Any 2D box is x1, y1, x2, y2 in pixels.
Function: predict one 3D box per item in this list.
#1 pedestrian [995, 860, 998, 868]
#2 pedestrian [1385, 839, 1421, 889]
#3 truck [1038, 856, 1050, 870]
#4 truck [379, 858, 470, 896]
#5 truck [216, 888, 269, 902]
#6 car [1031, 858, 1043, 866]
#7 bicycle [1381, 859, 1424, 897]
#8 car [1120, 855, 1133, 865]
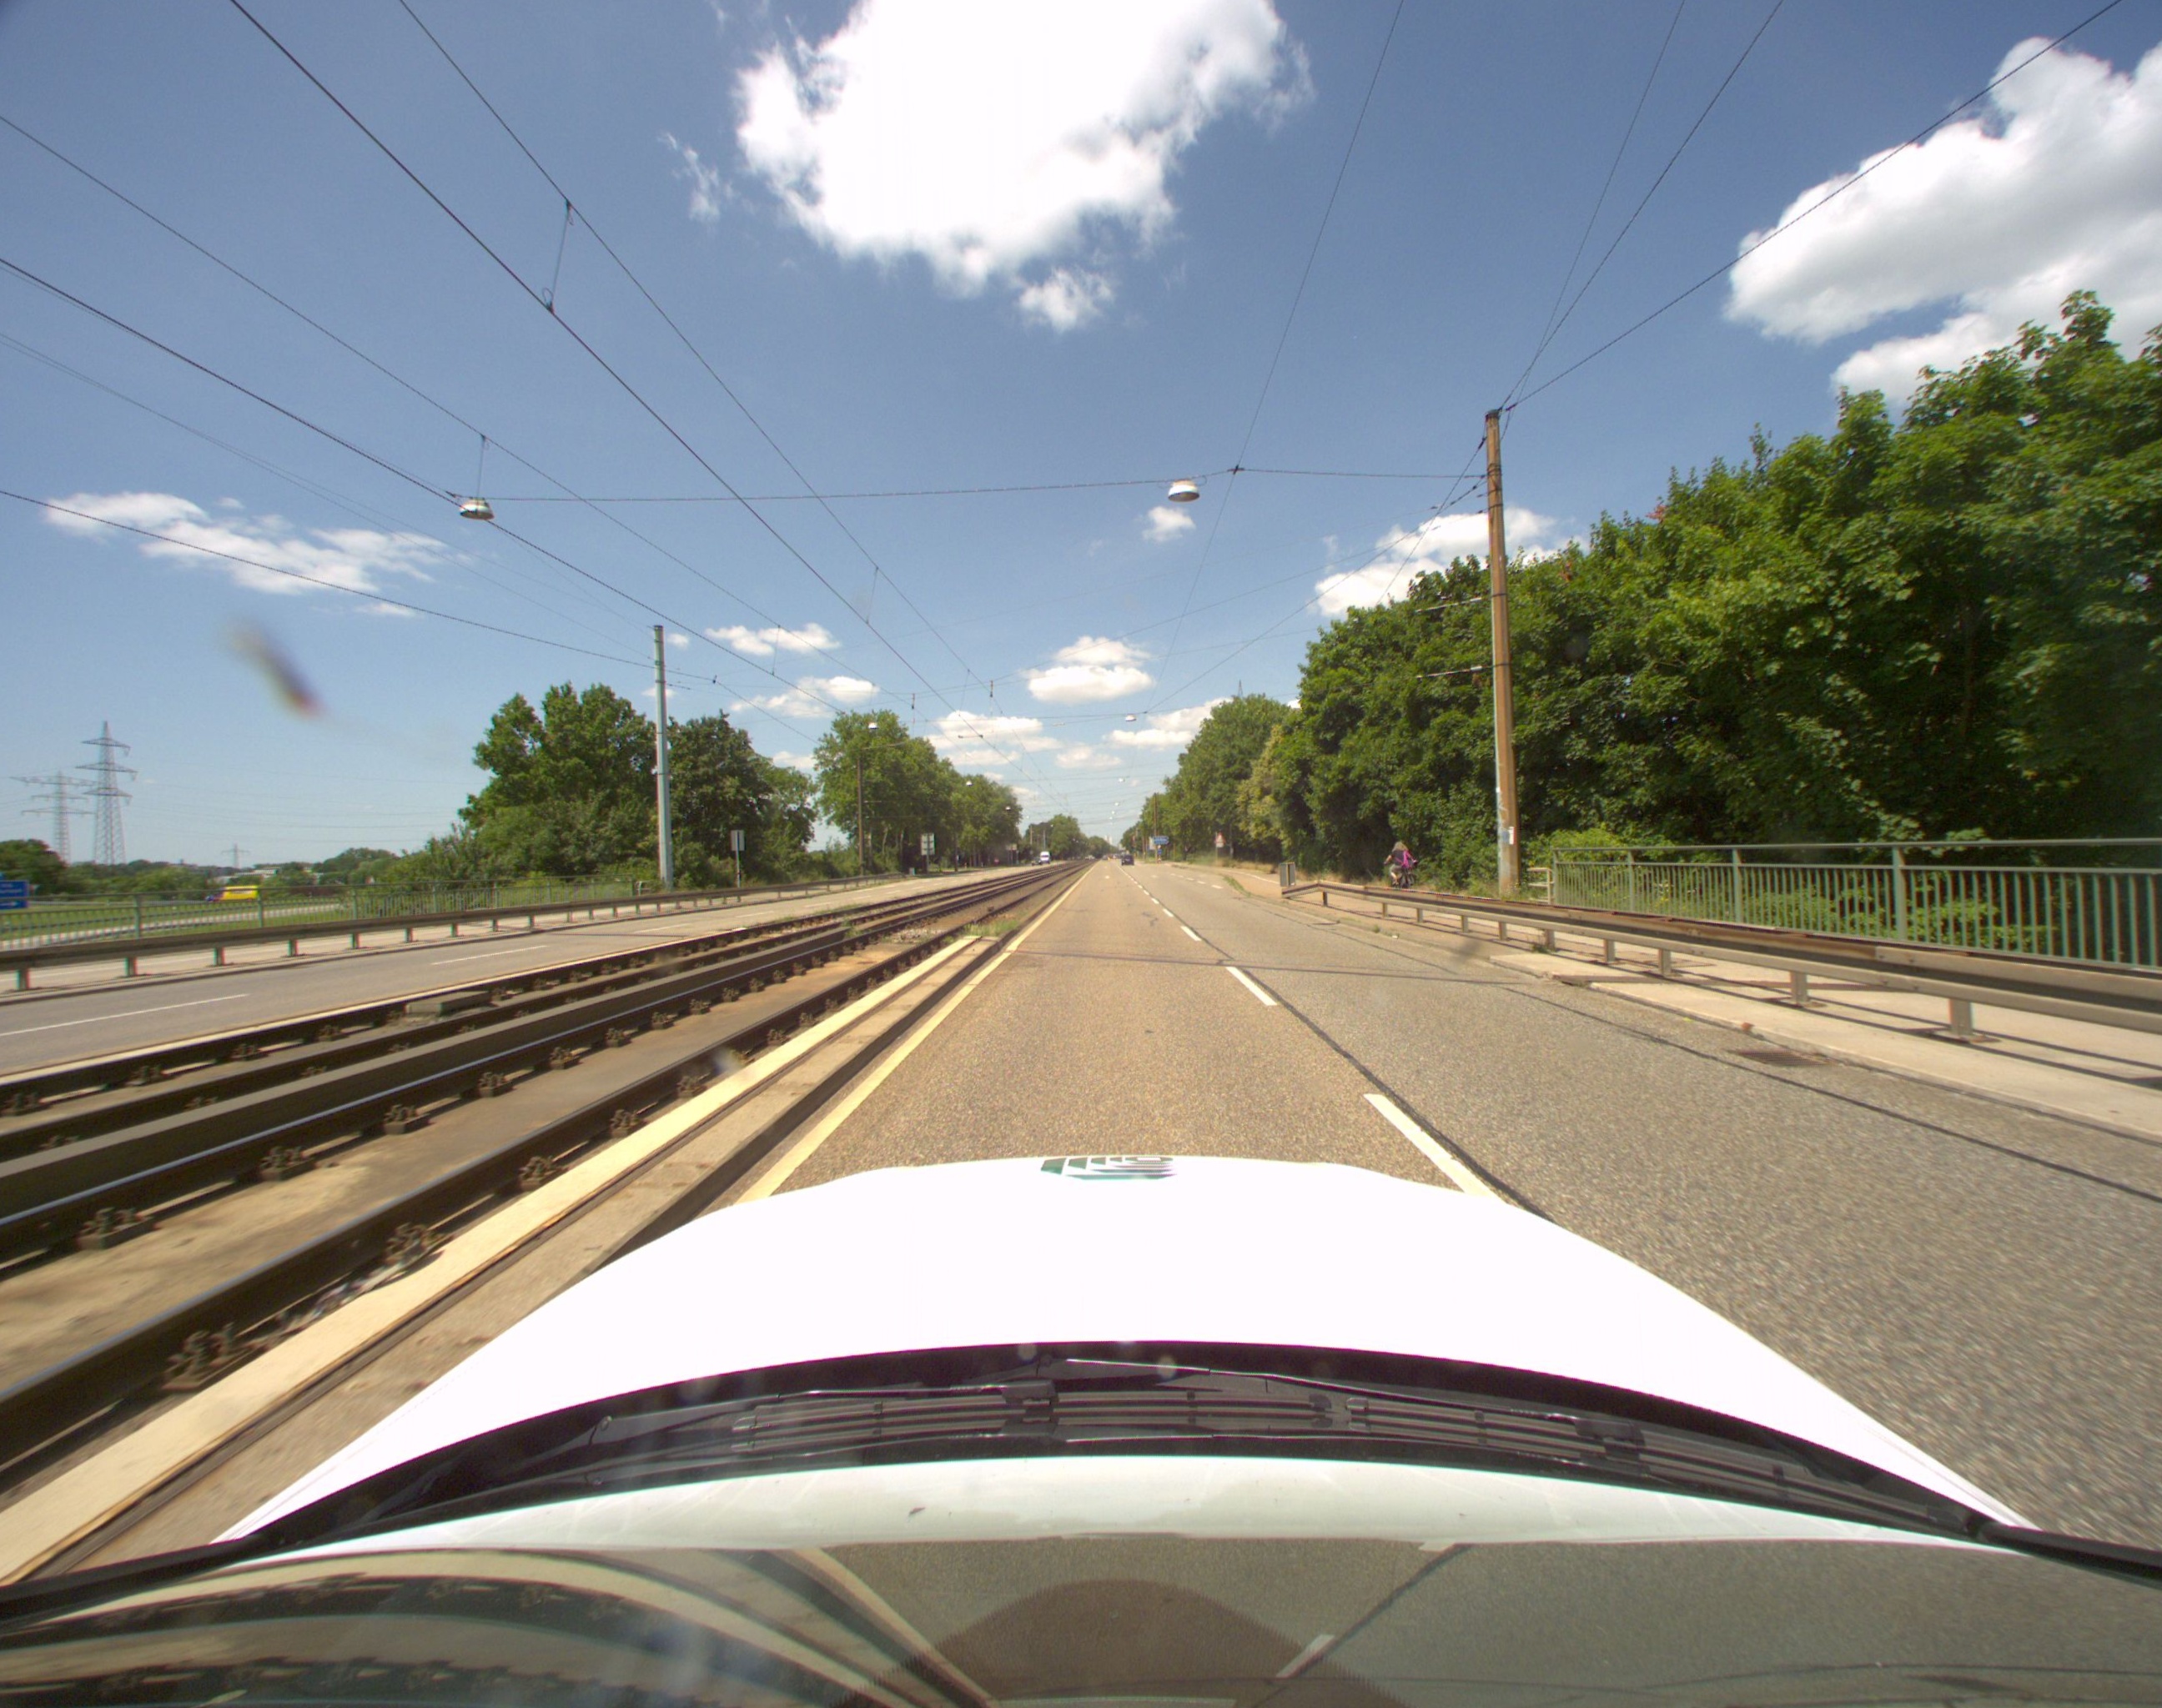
[{"bbox_3d":[-15.957,1.848,153.931,0.512,1.551,0.703,-3,0,-4],"label":"pedestrian"},{"bbox_3d":[9.291,0.279,23.528,0.625,1.374,1.051,-2,0,2],"label":"pedestrian"},{"bbox_3d":[-8.205,2.040,181.190,2.046,2.939,6.322,-3,0,2],"label":"truck"},{"bbox_3d":[-103.853,3.685,129.105,10.847,5.636,3.263,1,1,-31],"label":"truck"},{"bbox_3d":[-119.091,5.815,115.697,4.805,1.768,1.937,-1,1,-22],"label":"truck"},{"bbox_3d":[-8.459,1.563,156.232,1.811,1.514,4.429,-3,0,2],"label":"car"},{"bbox_3d":[9.309,0.671,23.644,0.557,1.024,1.849,-2,0,2],"label":"bicycle"},{"bbox_3d":[6.466,0.885,115.633,1.581,1.343,3.272,-2,1,0],"label":"car"}]
